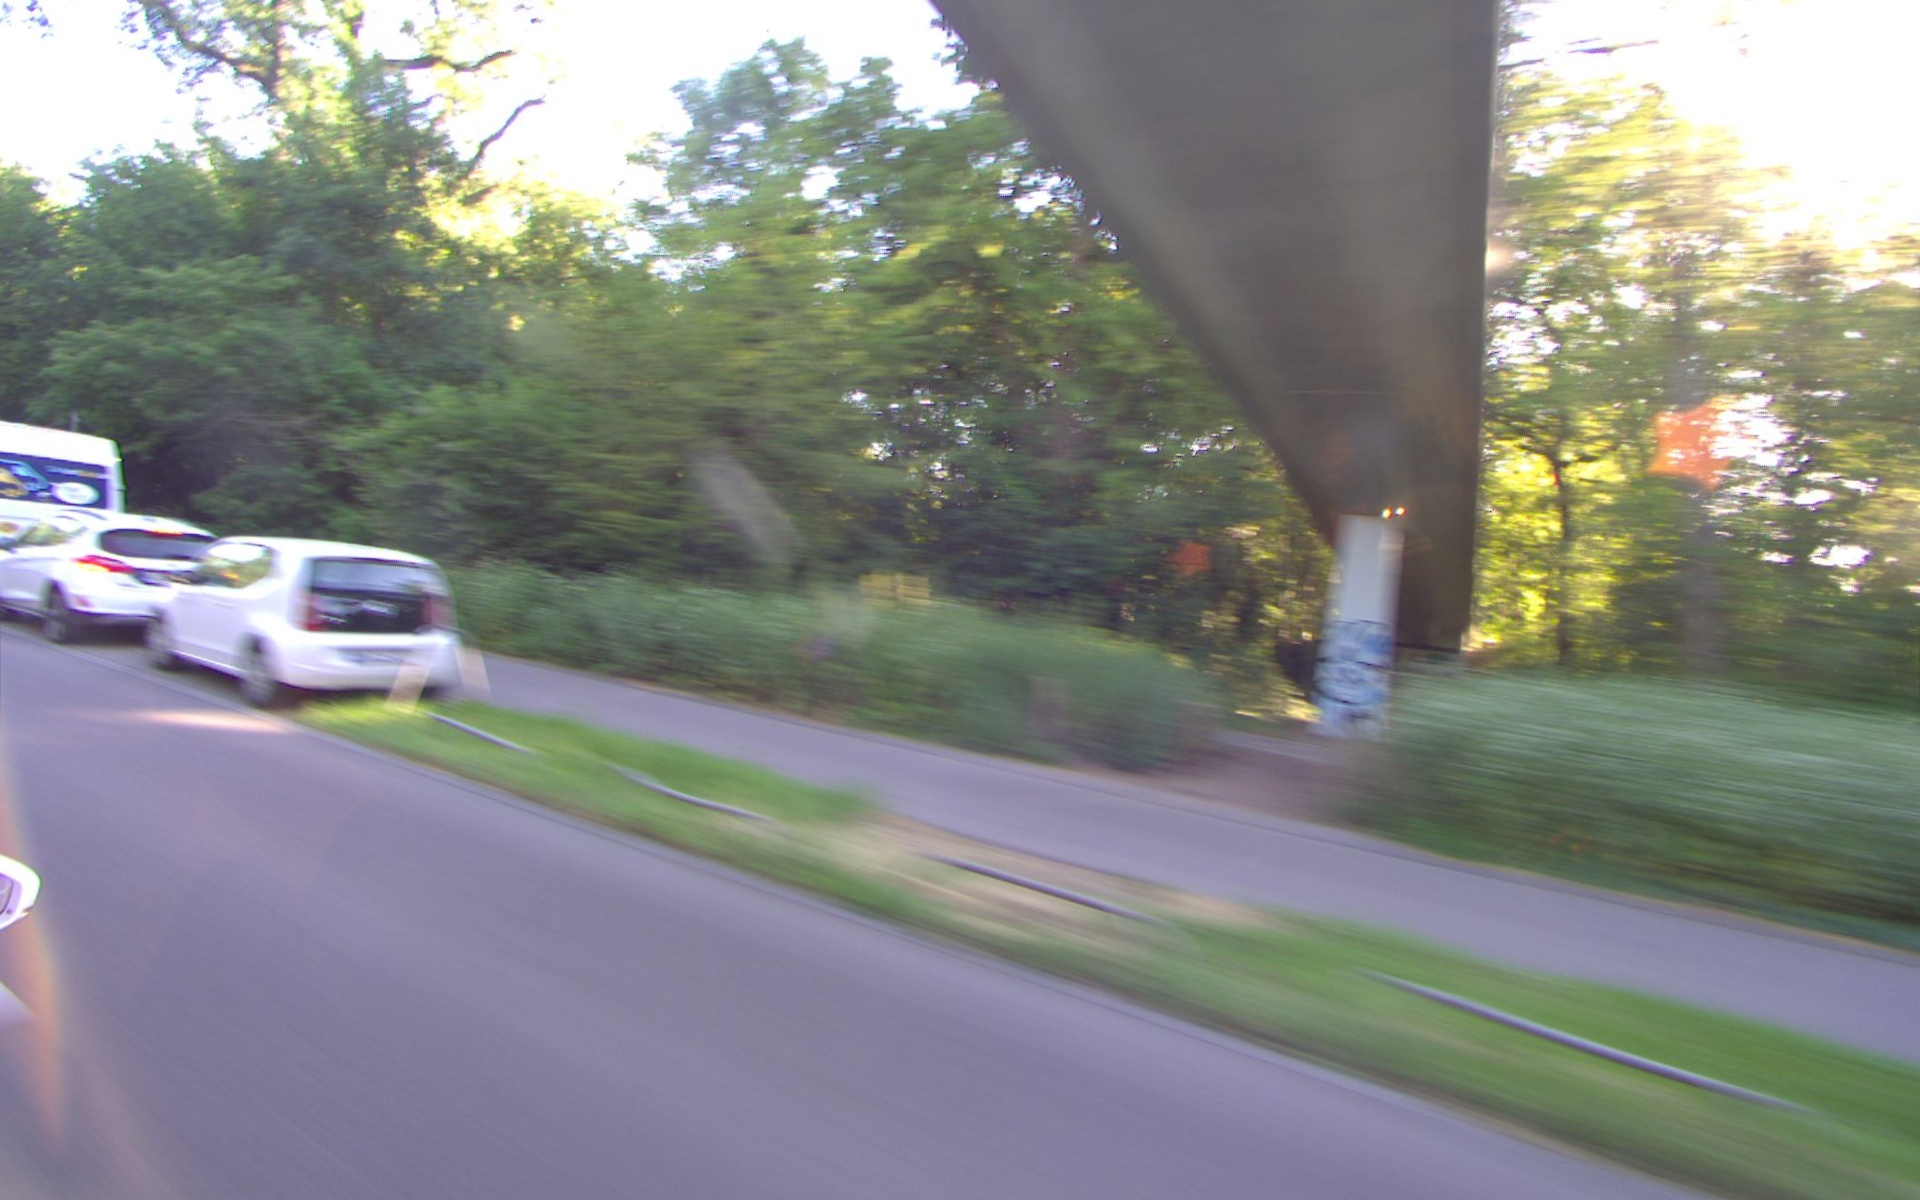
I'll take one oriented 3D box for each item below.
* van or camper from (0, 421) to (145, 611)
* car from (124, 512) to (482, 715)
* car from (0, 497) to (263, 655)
[{"bbox_3d":[-15.665,-1.474,16.046,5.880,2.548,2.122,7,0,31],"label":"van or camper"},{"bbox_3d":[-6.683,0.061,10.123,3.715,1.515,1.722,7,2,35],"label":"car"},{"bbox_3d":[-10.660,-0.352,12.520,4.077,1.514,1.725,7,0,32],"label":"car"}]
